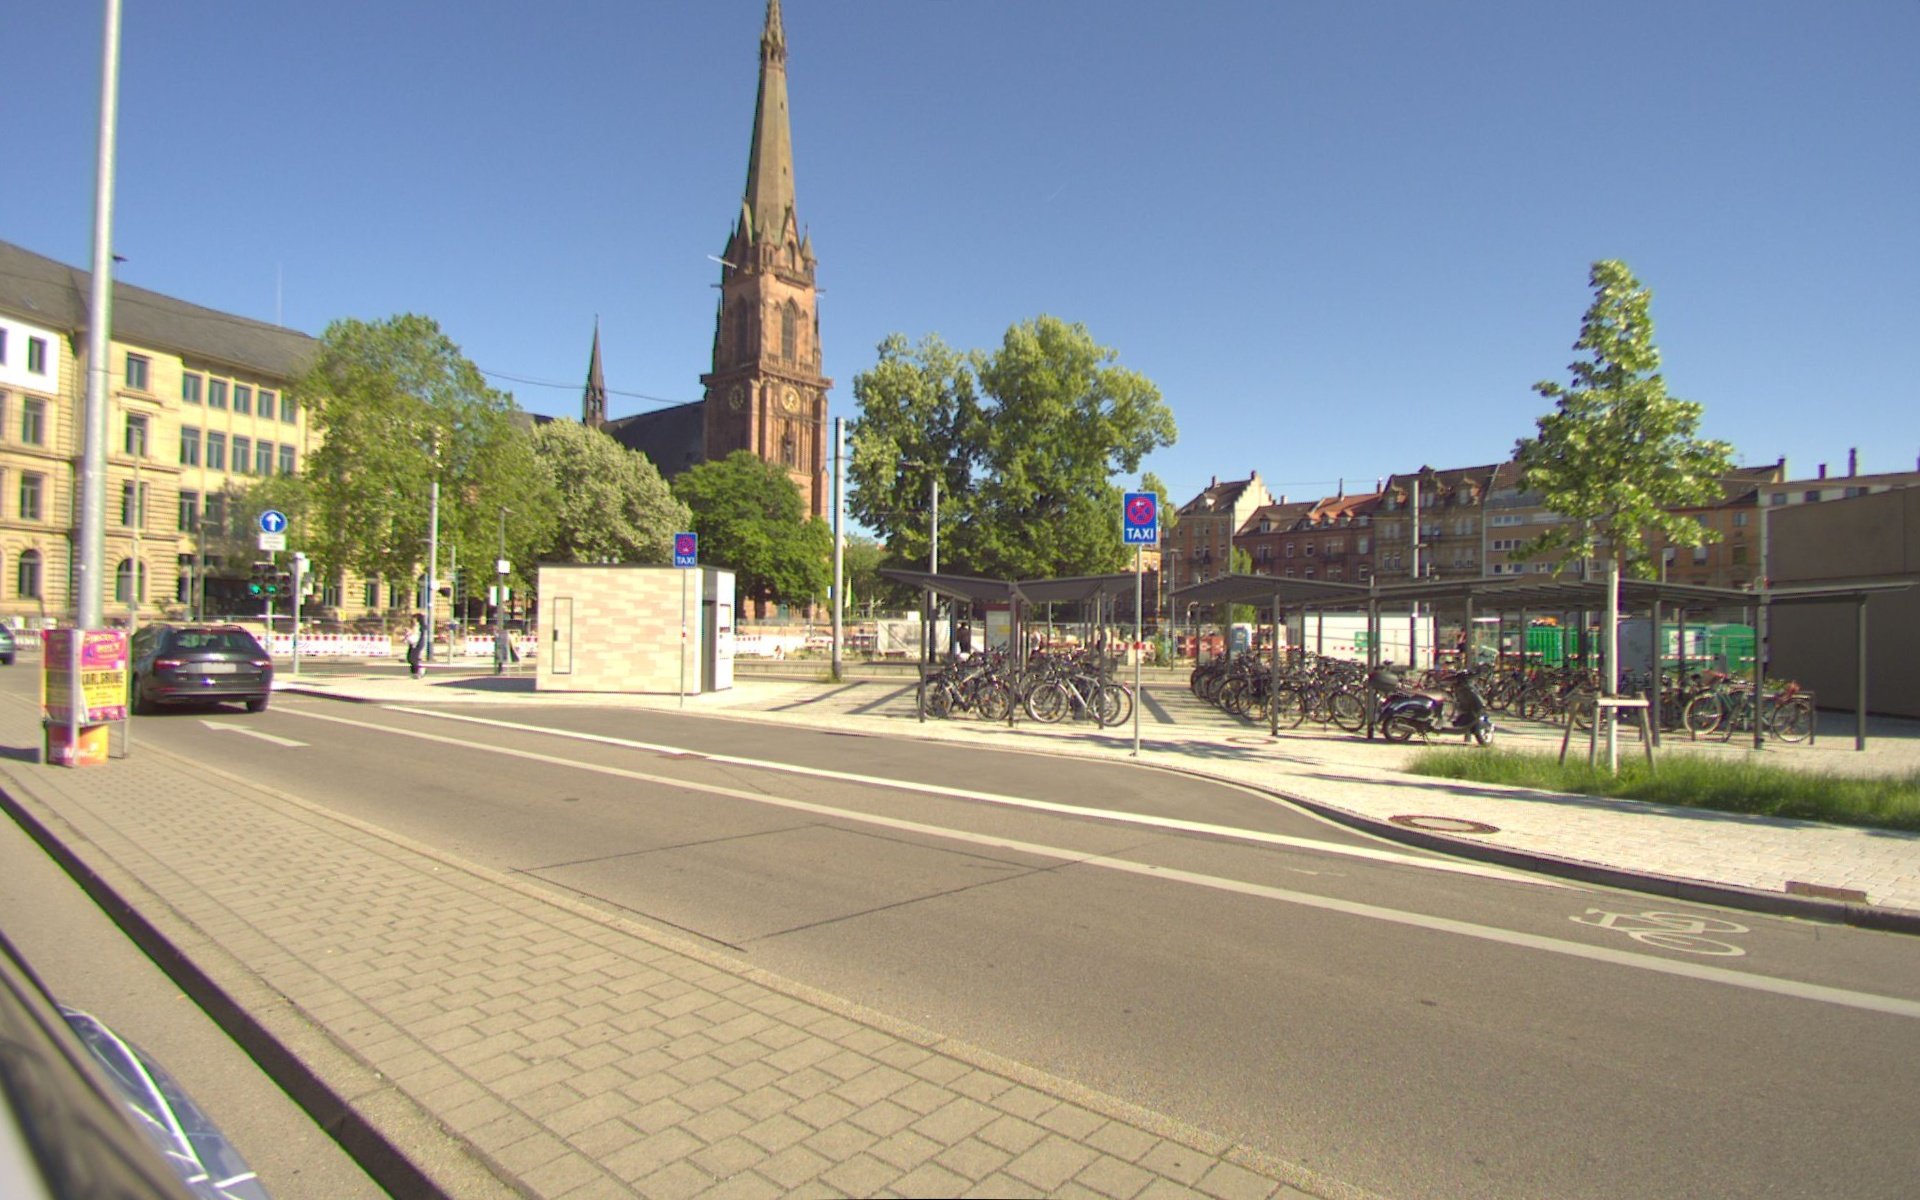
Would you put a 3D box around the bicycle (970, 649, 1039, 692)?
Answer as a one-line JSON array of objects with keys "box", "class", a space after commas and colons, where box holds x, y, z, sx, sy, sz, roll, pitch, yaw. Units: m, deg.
[{"box": [1.104, 1.730, 24.937, 1.652, 1.016, 0.456, 0, -2, 8], "class": "bicycle"}]

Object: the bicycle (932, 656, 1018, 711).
[{"box": [0.302, 1.627, 19.883, 1.652, 1.016, 0.456, 0, -2, 8], "class": "bicycle"}]

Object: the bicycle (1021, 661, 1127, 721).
[{"box": [2.052, 1.634, 18.256, 1.882, 1.016, 0.456, 0, -2, 8], "class": "bicycle"}]

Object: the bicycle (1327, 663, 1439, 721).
[{"box": [7.915, 1.713, 18.991, 1.882, 1.016, 0.456, 0, -2, 8], "class": "bicycle"}]

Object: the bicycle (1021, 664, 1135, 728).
[{"box": [1.987, 1.603, 17.109, 1.882, 1.016, 0.456, 0, -2, 8], "class": "bicycle"}]

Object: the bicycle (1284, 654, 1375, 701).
[{"box": [8.313, 1.736, 22.813, 1.882, 1.016, 0.456, 0, -2, 8], "class": "bicycle"}]

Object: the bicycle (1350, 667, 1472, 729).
[{"box": [7.892, 1.710, 17.758, 1.882, 1.016, 0.456, 0, -2, 8], "class": "bicycle"}]

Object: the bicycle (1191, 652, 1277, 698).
[{"box": [6.363, 1.733, 23.562, 1.882, 1.016, 0.456, 0, -2, 8], "class": "bicycle"}]

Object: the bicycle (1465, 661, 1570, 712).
[{"box": [11.711, 1.815, 21.308, 1.882, 1.016, 0.456, 0, -2, 8], "class": "bicycle"}]

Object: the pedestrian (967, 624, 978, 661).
[{"box": [0.582, 1.995, 47.611, 0.399, 1.734, 0.419, 1, -2, -11], "class": "pedestrian"}]

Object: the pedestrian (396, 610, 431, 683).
[{"box": [-14.371, 1.218, 26.620, 0.683, 1.868, 0.680, 2, -2, -38], "class": "pedestrian"}]

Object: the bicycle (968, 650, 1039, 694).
[{"box": [1.039, 1.716, 24.221, 1.652, 1.016, 0.456, 0, -2, 8], "class": "bicycle"}]

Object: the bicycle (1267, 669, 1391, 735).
[{"box": [6.119, 1.683, 16.835, 1.882, 1.016, 0.456, 0, -2, 8], "class": "bicycle"}]

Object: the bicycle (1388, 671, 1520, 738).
[{"box": [8.026, 1.693, 16.489, 1.882, 1.016, 0.456, 0, -2, 8], "class": "bicycle"}]

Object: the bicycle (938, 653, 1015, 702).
[{"box": [0.369, 1.692, 22.219, 1.652, 1.016, 0.456, 0, -2, 8], "class": "bicycle"}]

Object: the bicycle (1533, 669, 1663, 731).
[{"box": [11.098, 1.733, 17.637, 1.882, 1.016, 0.456, 0, -2, 8], "class": "bicycle"}]

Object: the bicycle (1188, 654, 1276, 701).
[{"box": [6.146, 1.739, 22.938, 1.882, 1.016, 0.456, 0, -2, 8], "class": "bicycle"}]

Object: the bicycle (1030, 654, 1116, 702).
[{"box": [2.508, 1.727, 22.529, 1.882, 1.016, 0.456, 0, -2, 8], "class": "bicycle"}]

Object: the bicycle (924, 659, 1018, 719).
[{"box": [0.199, 1.586, 18.186, 1.652, 1.016, 0.456, 0, -2, 8], "class": "bicycle"}]

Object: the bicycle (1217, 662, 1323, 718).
[{"box": [5.895, 1.709, 19.318, 1.882, 1.016, 0.456, 0, -2, 8], "class": "bicycle"}]

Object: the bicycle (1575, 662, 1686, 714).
[{"box": [13.871, 1.819, 20.966, 1.882, 1.016, 0.456, 0, -2, 8], "class": "bicycle"}]

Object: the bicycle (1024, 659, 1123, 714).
[{"box": [2.194, 1.660, 19.580, 1.882, 1.016, 0.456, 0, -2, 8], "class": "bicycle"}]

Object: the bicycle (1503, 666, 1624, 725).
[{"box": [11.161, 1.757, 18.753, 1.882, 1.016, 0.456, 0, -2, 8], "class": "bicycle"}]

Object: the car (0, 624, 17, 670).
[{"box": [-34.545, 1.592, 35.492, 4.241, 1.554, 1.835, -1, -4, 44], "class": "car"}]

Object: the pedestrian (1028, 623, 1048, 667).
[{"box": [3.228, 1.853, 41.747, 0.792, 1.793, 0.977, 0, -2, 3], "class": "pedestrian"}]

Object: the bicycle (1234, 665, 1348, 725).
[{"box": [5.897, 1.684, 18.088, 1.882, 1.016, 0.456, 0, -2, 8], "class": "bicycle"}]

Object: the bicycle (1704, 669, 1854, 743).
[{"box": [13.079, 1.686, 16.201, 1.882, 1.106, 0.456, 0, -2, 8], "class": "bicycle"}]

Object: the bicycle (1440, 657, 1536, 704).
[{"box": [12.076, 1.837, 23.189, 1.882, 1.016, 0.456, 0, -2, 8], "class": "bicycle"}]

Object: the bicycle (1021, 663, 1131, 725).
[{"box": [2.017, 1.625, 17.669, 1.882, 1.016, 0.456, 0, -2, 8], "class": "bicycle"}]

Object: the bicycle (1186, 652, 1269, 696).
[{"box": [6.391, 1.763, 24.220, 1.882, 1.016, 0.456, 0, -2, 8], "class": "bicycle"}]

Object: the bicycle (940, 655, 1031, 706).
[{"box": [0.540, 1.676, 21.221, 1.882, 1.016, 0.456, 0, -2, 8], "class": "bicycle"}]

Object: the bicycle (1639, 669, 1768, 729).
[{"box": [13.466, 1.778, 18.359, 1.882, 1.016, 0.456, 0, -2, 8], "class": "bicycle"}]

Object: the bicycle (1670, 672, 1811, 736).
[{"box": [13.126, 1.744, 17.061, 1.882, 1.016, 0.456, 0, -2, 8], "class": "bicycle"}]

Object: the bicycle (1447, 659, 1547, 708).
[{"box": [11.781, 1.826, 22.239, 1.882, 1.016, 0.456, 0, -2, 8], "class": "bicycle"}]

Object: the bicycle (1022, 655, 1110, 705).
[{"box": [2.294, 1.723, 21.916, 1.882, 1.016, 0.456, 0, -2, 8], "class": "bicycle"}]

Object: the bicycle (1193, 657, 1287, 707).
[{"box": [5.962, 1.748, 21.604, 1.882, 1.016, 0.456, 0, -2, 8], "class": "bicycle"}]

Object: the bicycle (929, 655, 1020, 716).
[{"box": [0.277, 1.575, 18.771, 1.652, 1.069, 0.456, 0, -2, 8], "class": "bicycle"}]

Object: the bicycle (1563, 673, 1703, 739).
[{"box": [10.970, 1.719, 16.532, 1.882, 1.016, 0.456, 0, -2, 8], "class": "bicycle"}]

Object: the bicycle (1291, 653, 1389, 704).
[{"box": [8.054, 1.662, 21.514, 1.882, 1.016, 0.456, 0, -2, 8], "class": "bicycle"}]

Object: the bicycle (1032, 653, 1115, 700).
[{"box": [2.603, 1.749, 23.299, 1.882, 1.016, 0.456, 0, -2, 8], "class": "bicycle"}]

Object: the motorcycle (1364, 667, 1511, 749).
[{"box": [7.159, 1.603, 15.220, 1.924, 1.160, 0.516, 0, -2, 6], "class": "motorcycle"}]

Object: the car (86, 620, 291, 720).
[{"box": [-13.419, 1.132, 17.504, 4.571, 1.511, 1.771, -1, -3, 39], "class": "car"}]

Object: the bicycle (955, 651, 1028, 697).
[{"box": [0.743, 1.711, 23.477, 1.652, 1.016, 0.456, 0, -2, 8], "class": "bicycle"}]

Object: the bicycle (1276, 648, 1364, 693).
[{"box": [8.484, 1.653, 23.905, 1.882, 1.016, 0.456, 0, -2, 8], "class": "bicycle"}]

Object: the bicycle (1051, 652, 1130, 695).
[{"box": [3.159, 1.778, 24.594, 1.882, 1.016, 0.456, 0, -2, 8], "class": "bicycle"}]
